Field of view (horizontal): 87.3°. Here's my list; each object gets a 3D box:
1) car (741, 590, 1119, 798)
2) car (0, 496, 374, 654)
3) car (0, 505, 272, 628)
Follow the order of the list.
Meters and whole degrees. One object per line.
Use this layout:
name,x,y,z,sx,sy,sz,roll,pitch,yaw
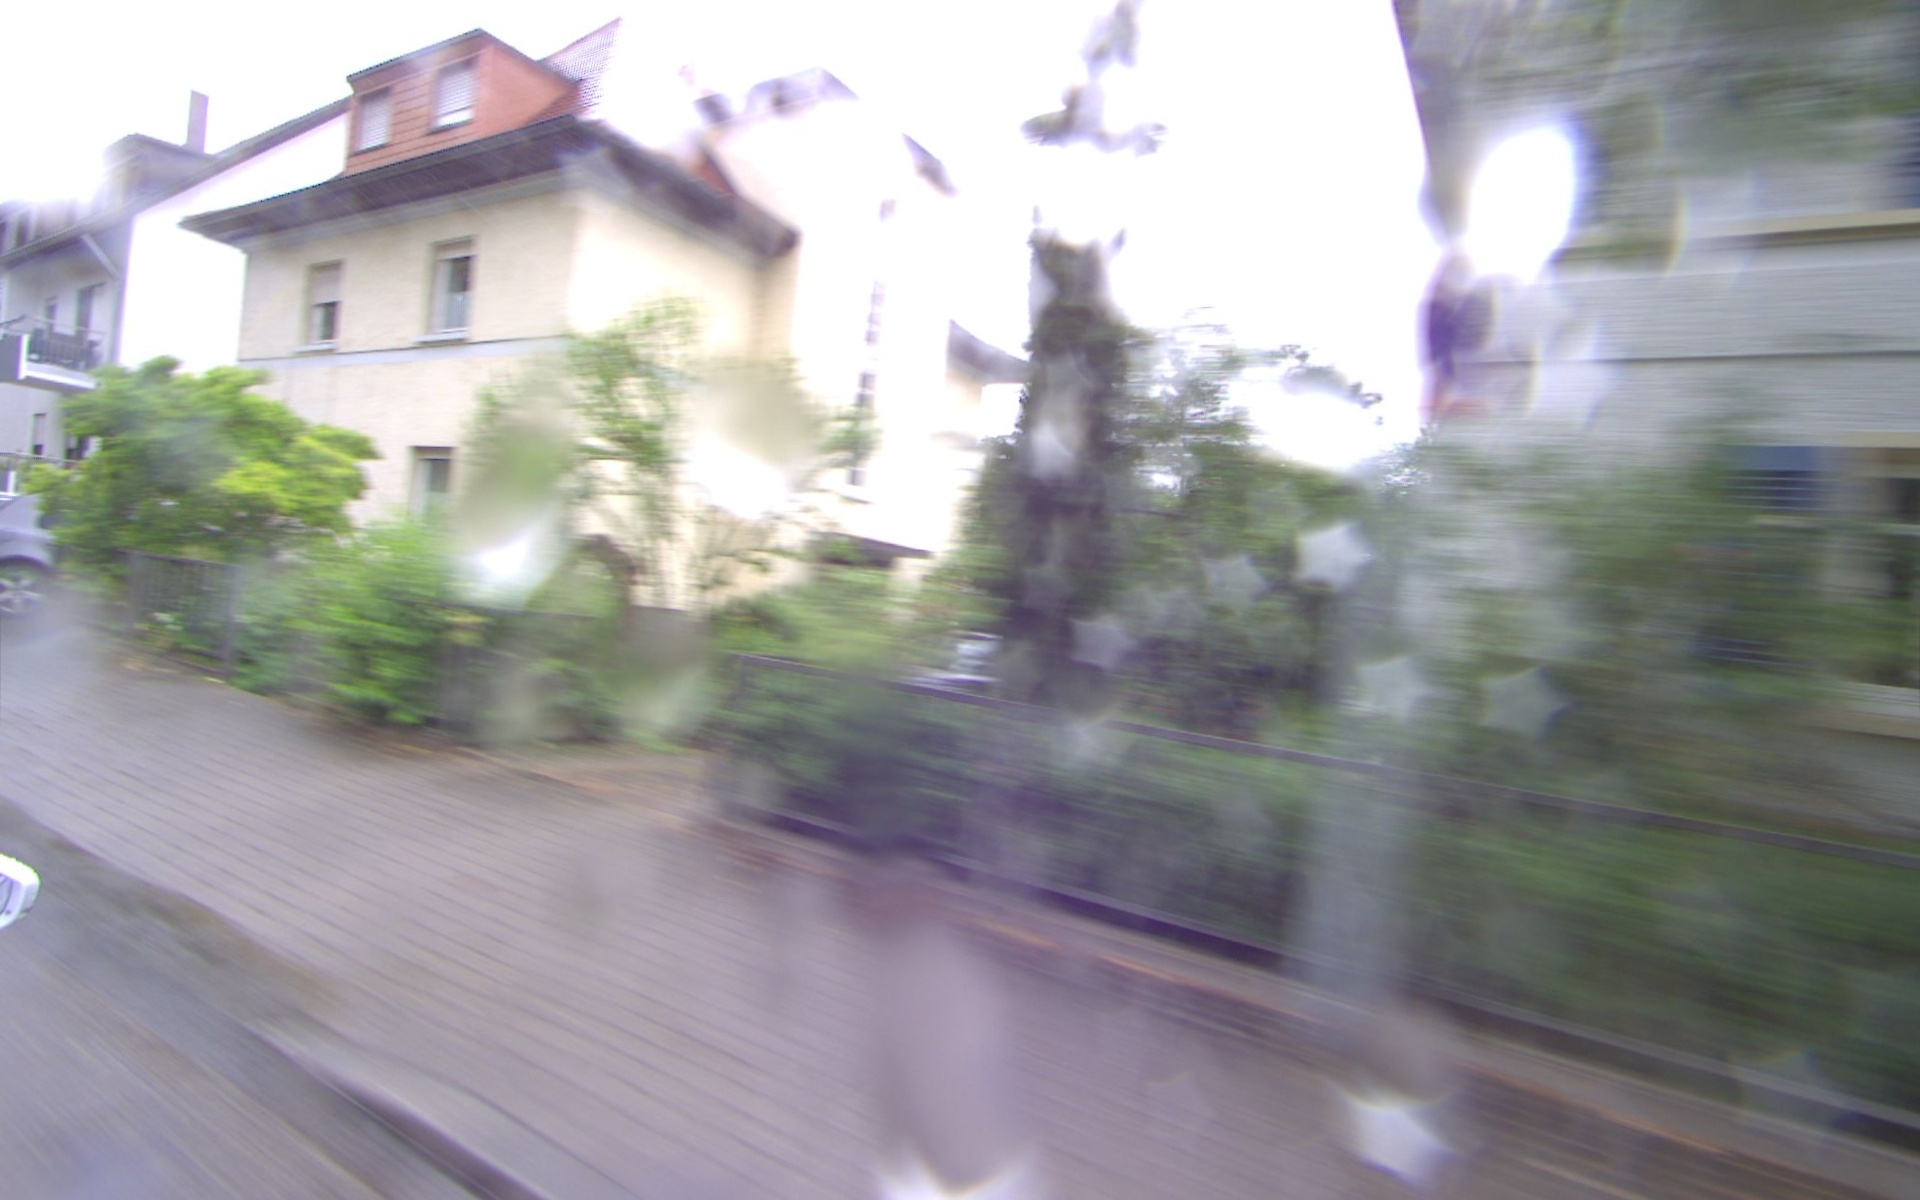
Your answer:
car,-0.098,1.100,10.566,1.792,1.595,3.998,6,-6,35
car,-9.706,-0.303,12.459,3.947,1.475,1.761,6,1,-24
car,-12.590,-0.536,14.228,4.324,1.381,1.909,6,-1,-24
